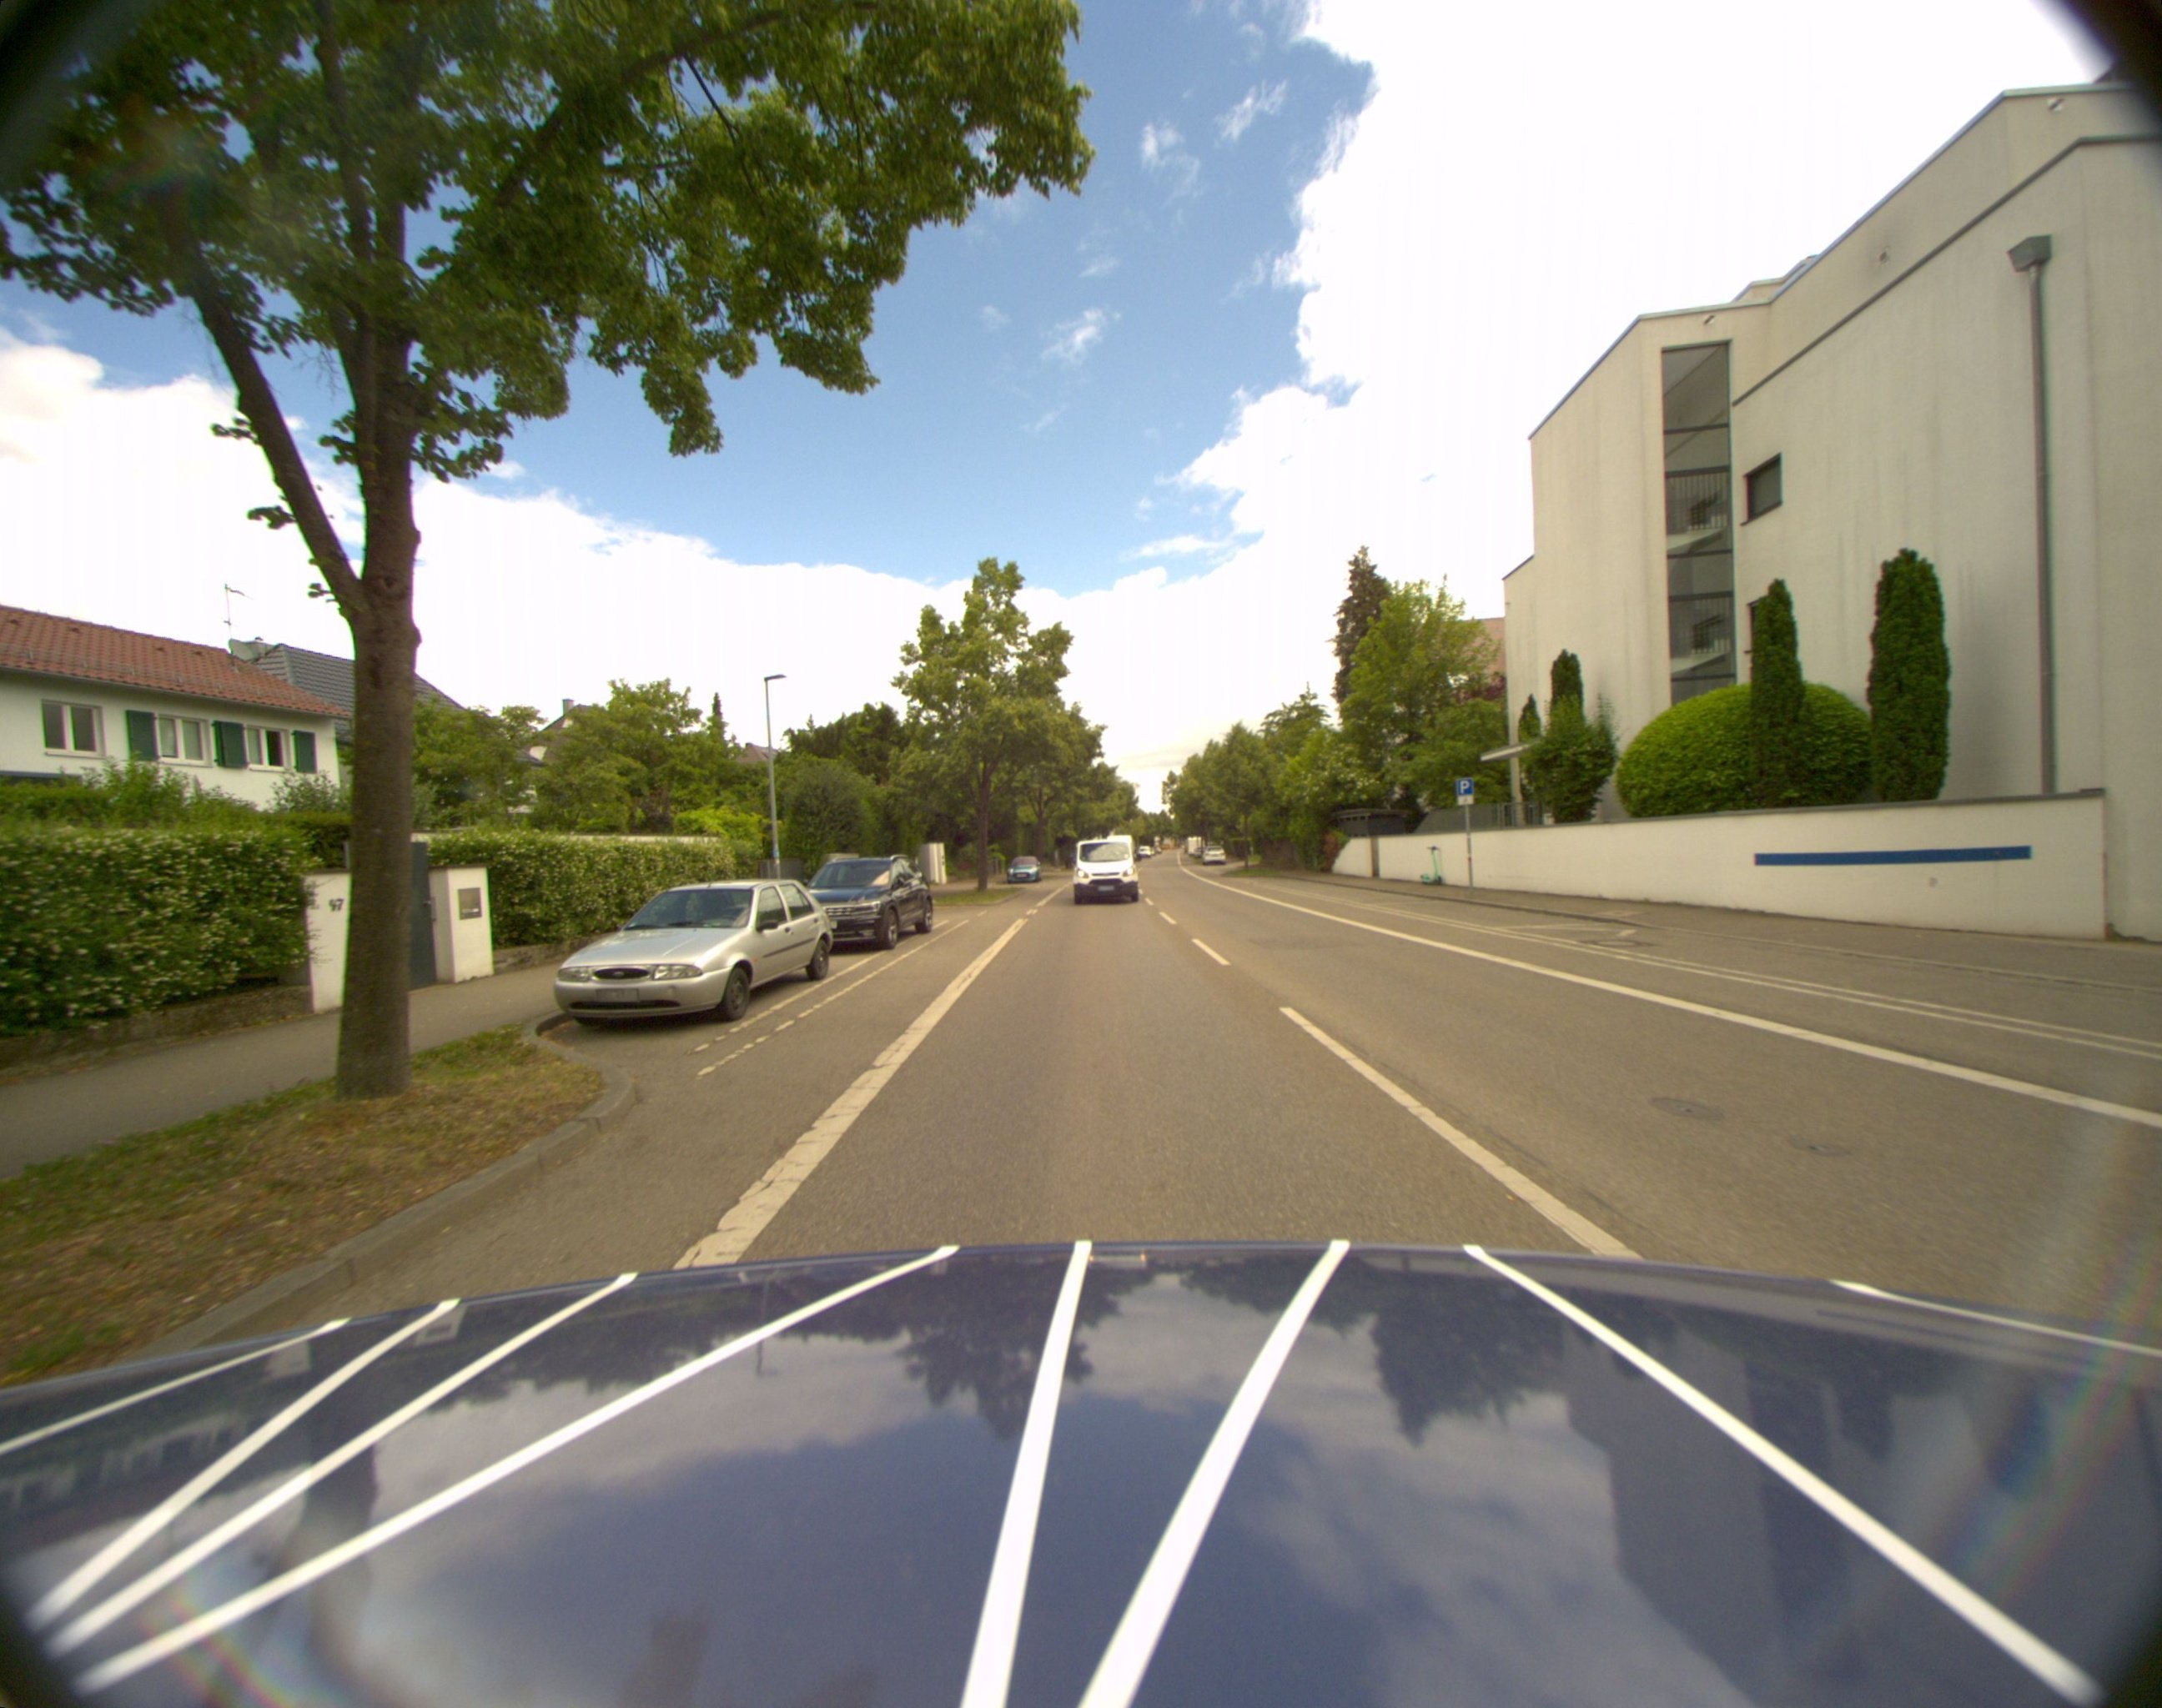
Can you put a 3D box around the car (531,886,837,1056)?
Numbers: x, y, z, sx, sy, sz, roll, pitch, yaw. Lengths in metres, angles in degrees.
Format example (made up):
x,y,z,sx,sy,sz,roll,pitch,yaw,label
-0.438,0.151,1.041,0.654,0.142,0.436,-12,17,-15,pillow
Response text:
x,y,z,sx,sy,sz,roll,pitch,yaw,label
-4.163,1.134,8.657,1.561,1.343,3.540,-1,0,1,car

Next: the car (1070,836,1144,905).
x,y,z,sx,sy,sz,roll,pitch,yaw,label
0.947,0.485,24.920,2.075,1.956,5.559,-2,0,4,car

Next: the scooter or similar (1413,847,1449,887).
x,y,z,sx,sy,sz,roll,pitch,yaw,label
10.795,0.390,23.478,0.434,1.159,1.327,-6,1,2,scooter or similar

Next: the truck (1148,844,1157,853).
x,y,z,sx,sy,sz,roll,pitch,yaw,label
13.118,-1.004,139.704,1.618,1.649,4.001,-2,1,5,truck

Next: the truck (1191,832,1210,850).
x,y,z,sx,sy,sz,roll,pitch,yaw,label
18.729,-2.042,119.298,2.640,2.757,6.259,-3,1,6,truck

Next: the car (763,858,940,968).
x,y,z,sx,sy,sz,roll,pitch,yaw,label
-4.072,0.956,14.361,1.770,1.626,4.548,-2,0,2,car

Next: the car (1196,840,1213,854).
x,y,z,sx,sy,sz,roll,pitch,yaw,label
15.196,-0.924,93.497,1.888,1.606,4.002,-2,1,8,car

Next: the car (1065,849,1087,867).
x,y,z,sx,sy,sz,roll,pitch,yaw,label
-0.441,0.326,70.848,1.776,1.588,3.815,-2,1,3,car

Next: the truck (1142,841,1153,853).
x,y,z,sx,sy,sz,roll,pitch,yaw,label
10.038,-1.065,115.166,1.614,1.780,4.001,-2,1,5,truck

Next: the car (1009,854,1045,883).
x,y,z,sx,sy,sz,roll,pitch,yaw,label
-2.990,0.773,42.589,1.667,1.398,3.657,-2,1,1,car

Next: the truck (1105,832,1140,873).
x,y,z,sx,sy,sz,roll,pitch,yaw,label
2.739,-0.119,51.462,2.036,2.556,6.057,-2,1,1,truck

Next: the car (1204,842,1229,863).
x,y,z,sx,sy,sz,roll,pitch,yaw,label
11.781,-0.152,66.384,1.916,1.643,4.002,-2,1,8,car
